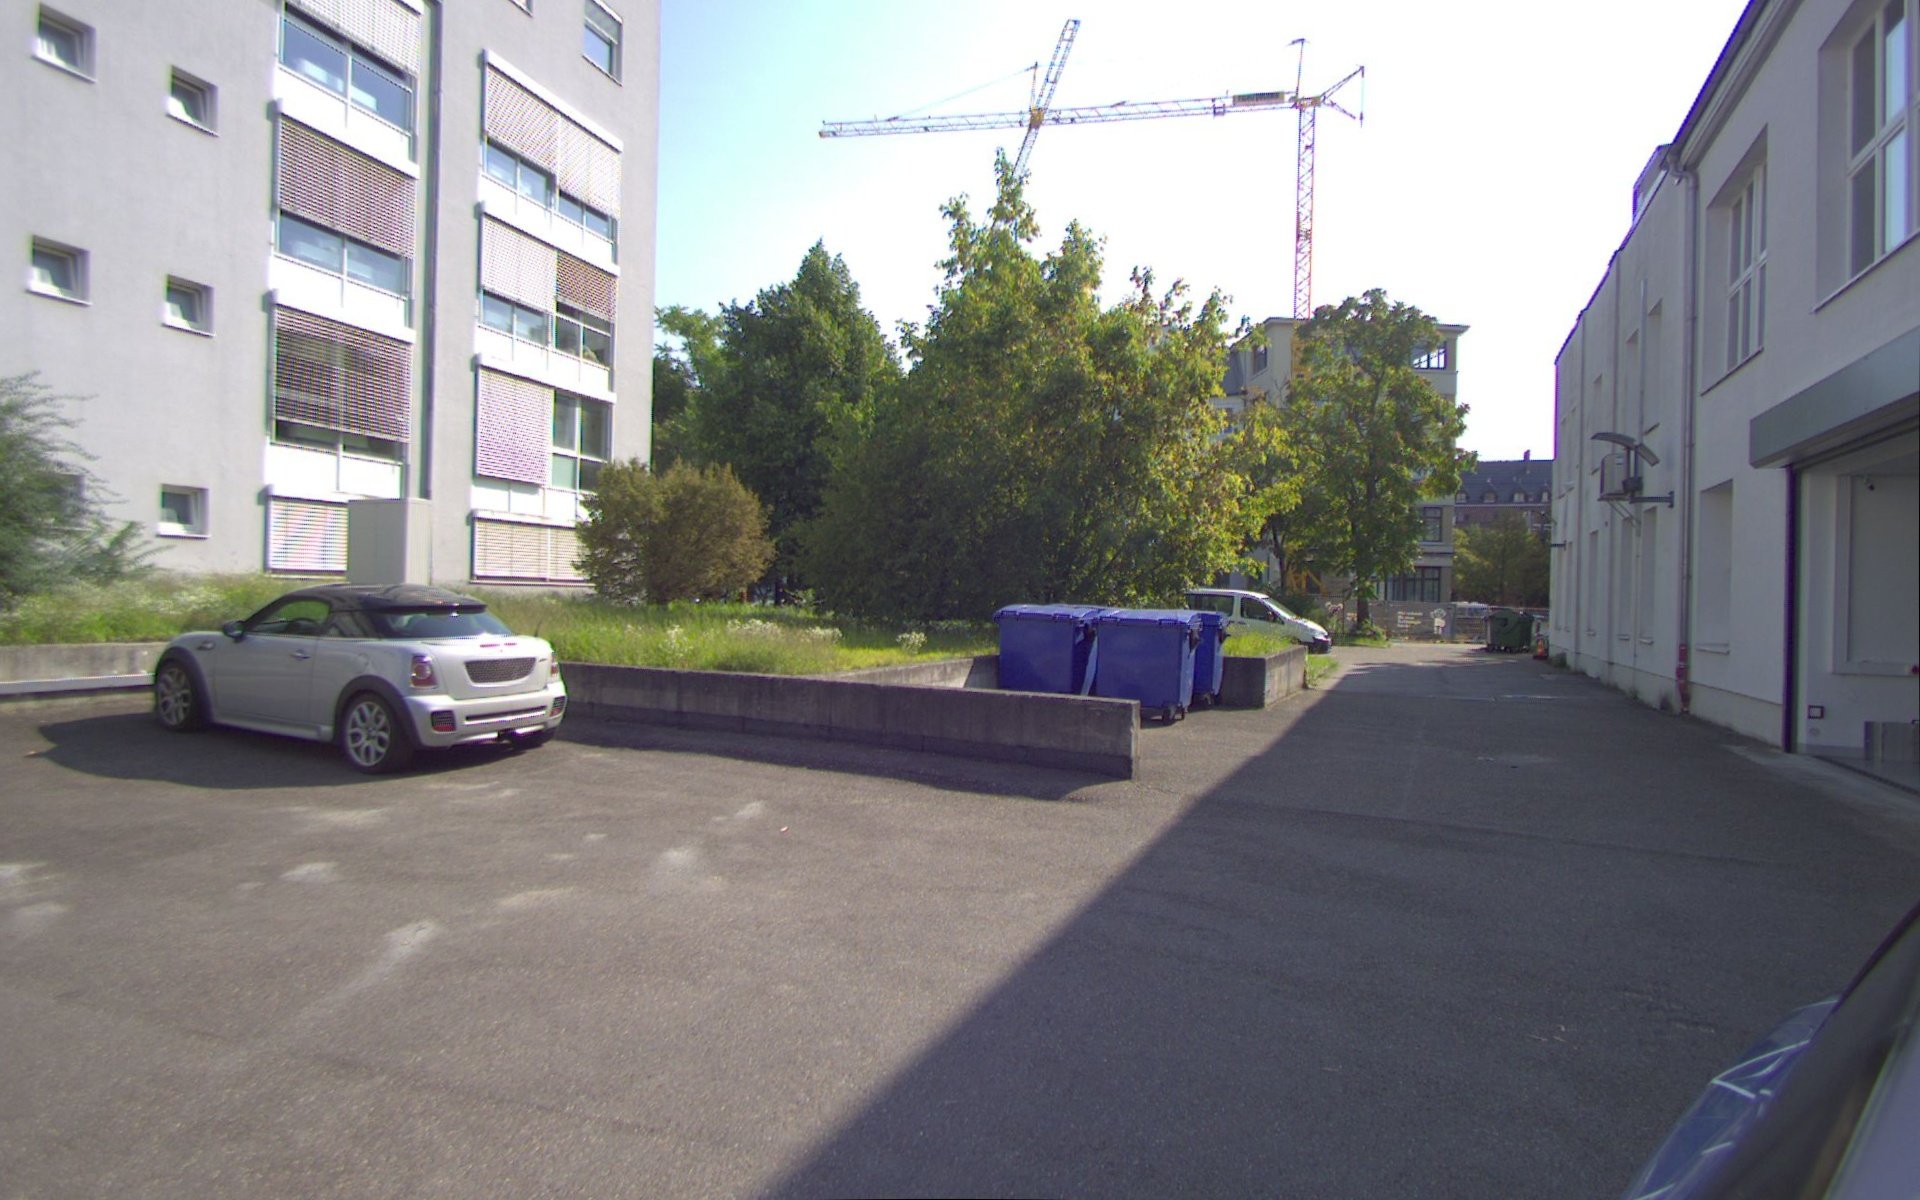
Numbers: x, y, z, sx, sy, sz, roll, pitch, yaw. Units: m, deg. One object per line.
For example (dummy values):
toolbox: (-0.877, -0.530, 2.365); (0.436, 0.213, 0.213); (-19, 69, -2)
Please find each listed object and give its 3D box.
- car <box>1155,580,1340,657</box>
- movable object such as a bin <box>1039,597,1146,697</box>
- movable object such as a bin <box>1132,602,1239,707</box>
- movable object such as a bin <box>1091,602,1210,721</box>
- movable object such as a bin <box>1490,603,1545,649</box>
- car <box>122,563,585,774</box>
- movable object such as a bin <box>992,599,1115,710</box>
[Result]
car: (8.123, 0.472, 28.661); (4.749, 1.956, 1.890); (2, 0, 28)
movable object such as a bin: (1.931, 0.647, 14.633); (1.189, 1.344, 1.263); (1, 0, 26)
movable object such as a bin: (3.142, 0.715, 14.035); (1.189, 1.344, 1.263); (1, 0, 26)
movable object such as a bin: (2.405, 0.720, 12.671); (1.201, 1.368, 1.264); (1, 0, 24)
movable object such as a bin: (18.629, 0.846, 33.878); (1.510, 1.484, 1.263); (1, 0, 26)
car: (-5.211, 0.474, 8.726); (3.541, 1.456, 1.646); (2, 0, 23)
movable object such as a bin: (1.248, 0.671, 13.301); (1.245, 1.344, 1.263); (1, 0, 26)
